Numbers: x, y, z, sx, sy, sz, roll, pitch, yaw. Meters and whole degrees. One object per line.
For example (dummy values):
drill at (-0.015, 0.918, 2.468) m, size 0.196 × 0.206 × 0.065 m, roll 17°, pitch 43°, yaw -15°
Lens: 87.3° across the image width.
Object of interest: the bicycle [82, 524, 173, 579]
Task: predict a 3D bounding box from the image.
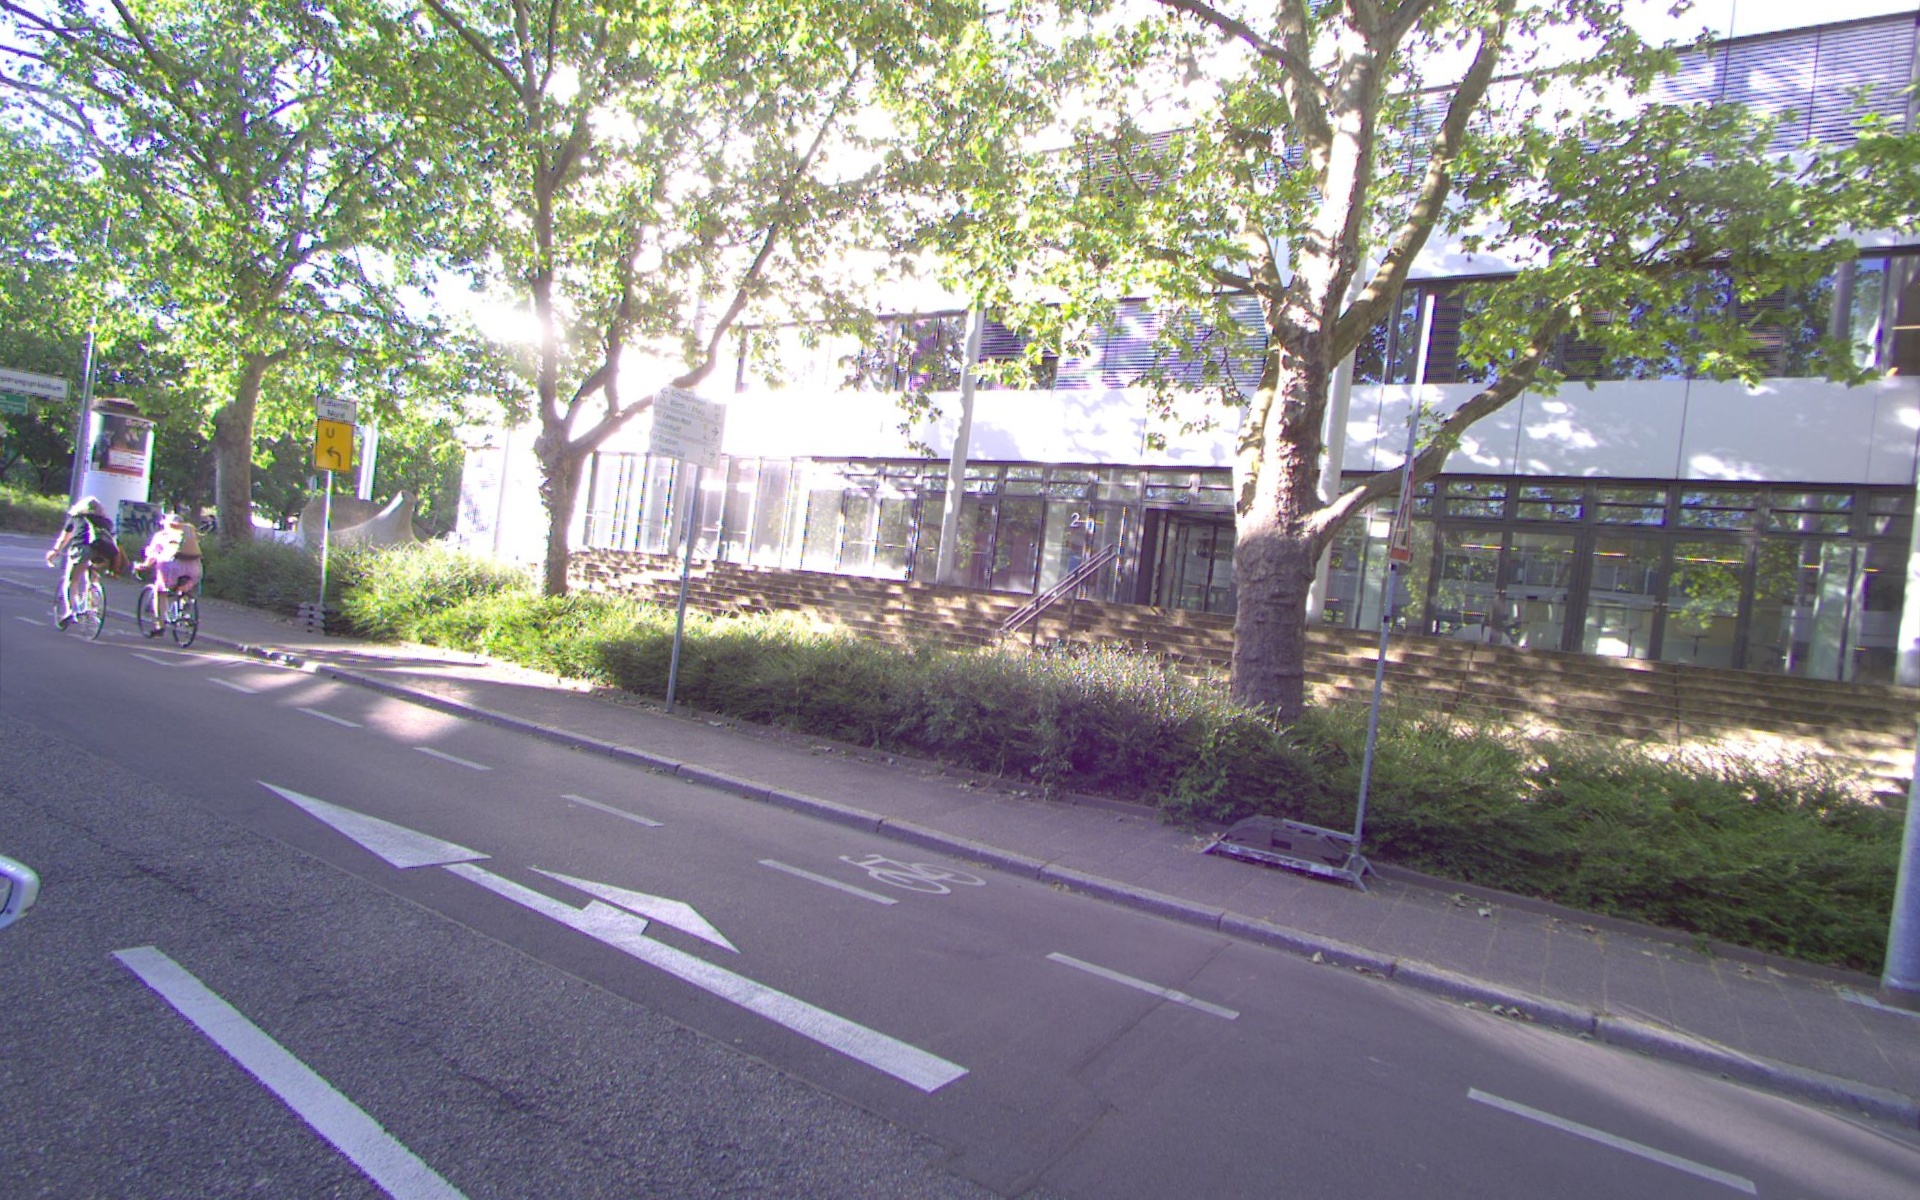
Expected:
bicycle at (-19.096, -1.089, 23.100) m, size 0.529 × 1.049 × 1.418 m, roll 7°, pitch -1°, yaw 28°

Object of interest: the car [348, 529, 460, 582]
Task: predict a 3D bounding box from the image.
car at (-25.874, -2.050, 46.925) m, size 1.969 × 1.805 × 3.998 m, roll 7°, pitch -1°, yaw 37°

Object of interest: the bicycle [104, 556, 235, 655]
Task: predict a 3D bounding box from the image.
bicycle at (-9.955, 0.059, 12.652) m, size 1.850 × 0.996 × 0.602 m, roll 7°, pitch -2°, yaw 32°

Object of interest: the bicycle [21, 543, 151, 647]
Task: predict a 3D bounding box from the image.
bicycle at (-10.616, -0.072, 12.208) m, size 1.702 × 1.038 × 0.611 m, roll 7°, pitch -2°, yaw 32°

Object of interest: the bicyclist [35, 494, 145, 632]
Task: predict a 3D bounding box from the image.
bicyclist at (-10.533, -0.446, 12.186) m, size 0.875 × 1.533 × 0.611 m, roll 7°, pitch -2°, yaw 32°

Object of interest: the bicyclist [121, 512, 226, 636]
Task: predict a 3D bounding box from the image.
bicyclist at (-9.878, -0.327, 12.643) m, size 0.915 × 1.417 × 0.602 m, roll 7°, pitch -2°, yaw 32°

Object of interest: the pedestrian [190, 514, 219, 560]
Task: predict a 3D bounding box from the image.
pedestrian at (-31.463, -2.609, 41.889) m, size 0.620 × 1.805 × 0.620 m, roll 7°, pitch 0°, yaw 34°
